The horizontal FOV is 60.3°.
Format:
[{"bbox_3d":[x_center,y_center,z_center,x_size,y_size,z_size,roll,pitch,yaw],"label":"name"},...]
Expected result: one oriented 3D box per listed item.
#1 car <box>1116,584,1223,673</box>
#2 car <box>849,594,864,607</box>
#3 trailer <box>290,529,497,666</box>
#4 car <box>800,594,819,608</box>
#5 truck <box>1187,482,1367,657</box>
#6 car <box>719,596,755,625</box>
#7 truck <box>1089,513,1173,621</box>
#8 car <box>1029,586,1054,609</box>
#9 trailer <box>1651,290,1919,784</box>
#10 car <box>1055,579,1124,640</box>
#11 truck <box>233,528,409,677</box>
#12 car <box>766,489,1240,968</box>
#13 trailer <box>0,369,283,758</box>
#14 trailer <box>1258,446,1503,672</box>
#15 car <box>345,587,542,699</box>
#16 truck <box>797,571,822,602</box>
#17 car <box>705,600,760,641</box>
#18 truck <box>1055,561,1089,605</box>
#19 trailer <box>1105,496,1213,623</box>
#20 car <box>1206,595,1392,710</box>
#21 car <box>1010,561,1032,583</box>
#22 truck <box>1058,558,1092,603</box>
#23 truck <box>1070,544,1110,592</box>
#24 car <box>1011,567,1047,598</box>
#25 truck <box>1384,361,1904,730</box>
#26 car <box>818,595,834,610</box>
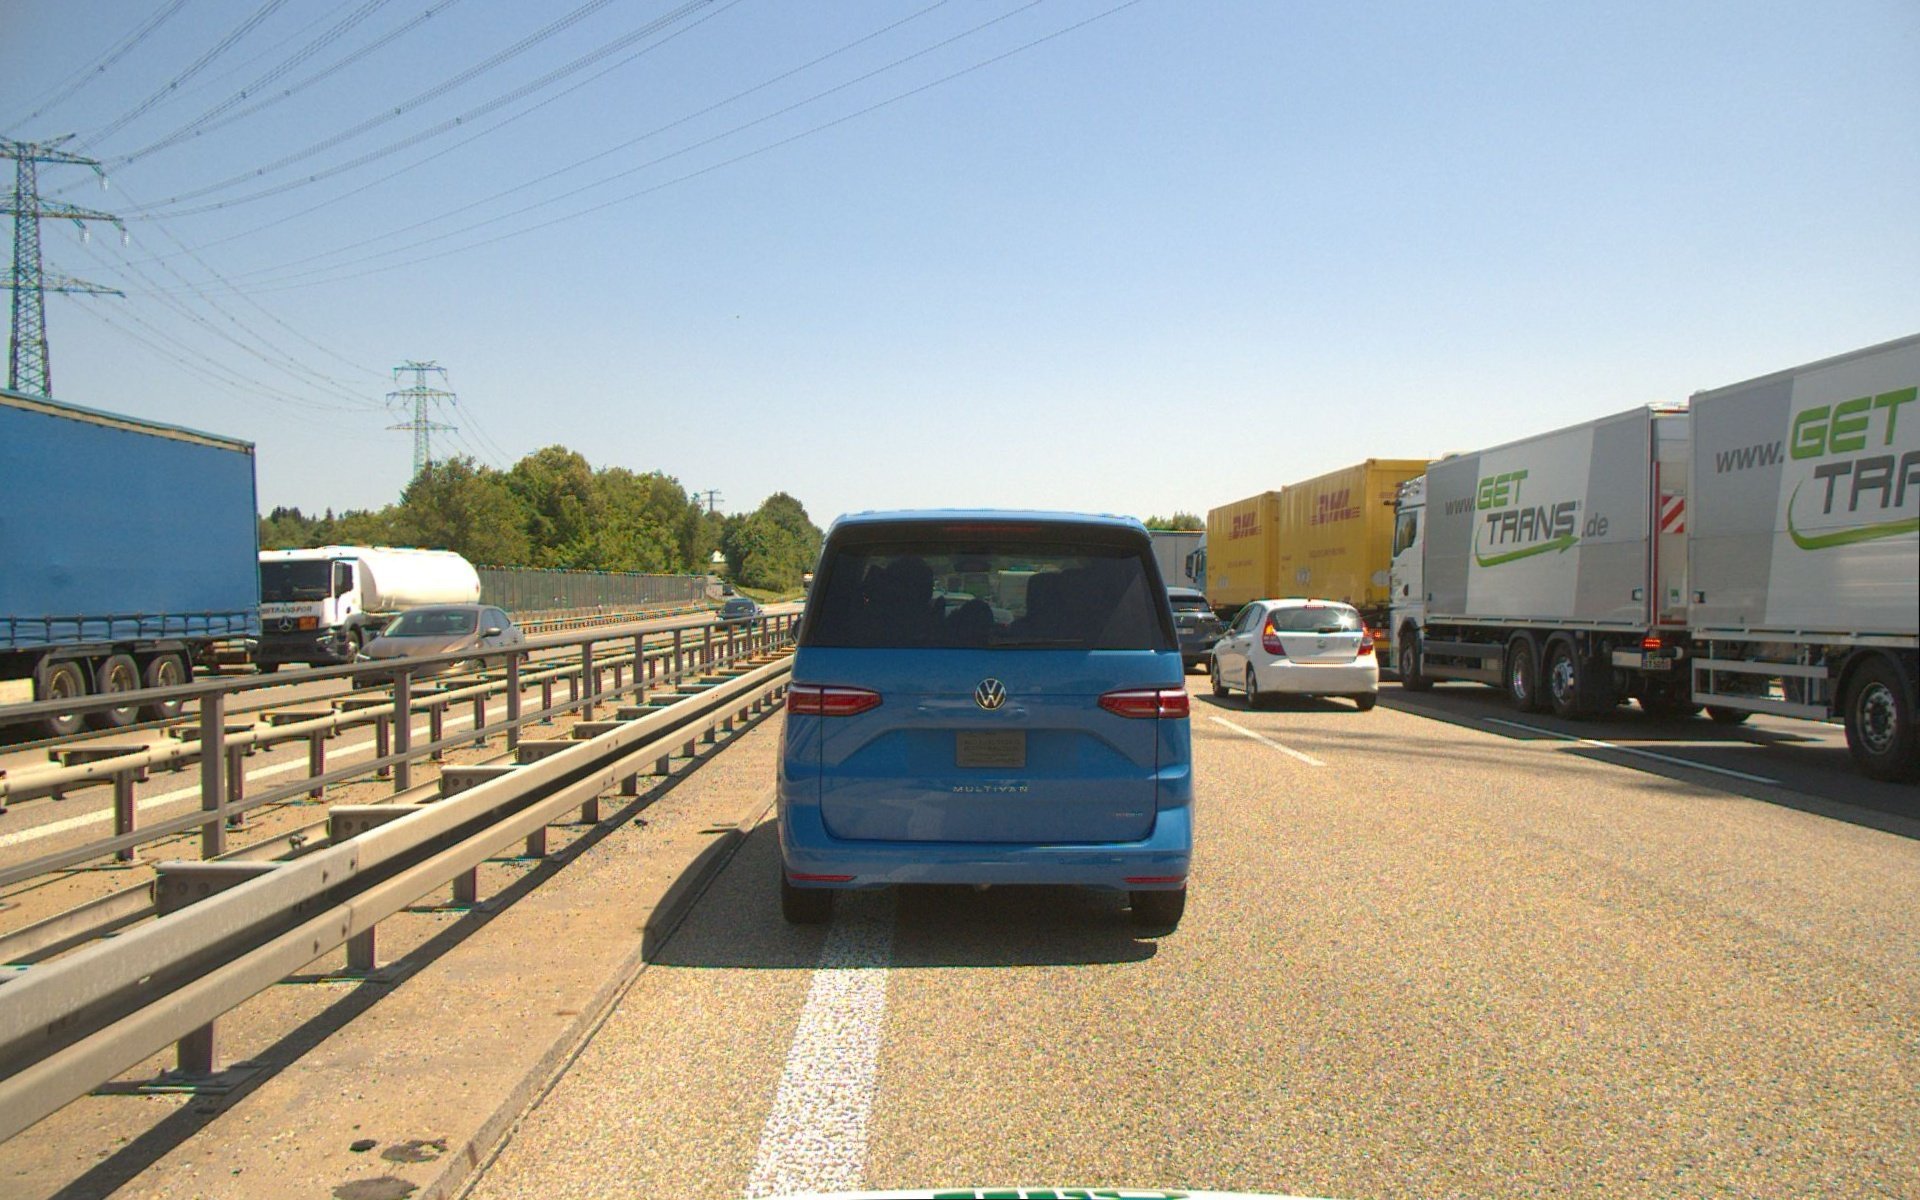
[{"bbox_3d":[4.279,0.567,34.329,1.778,1.708,3.932,1,0,1],"label":"car"},{"bbox_3d":[-14.449,0.057,230.756,1.834,1.556,3.607,-5,0,-1],"label":"car"},{"bbox_3d":[-16.619,-0.024,49.523,2.447,3.602,10.902,-1,0,0],"label":"trailer"},{"bbox_3d":[-16.594,0.067,182.449,1.834,1.467,4.384,-2,0,-1],"label":"car"},{"bbox_3d":[8.306,-0.699,44.740,2.645,4.159,9.936,1,0,-2],"label":"truck"},{"bbox_3d":[-13.703,0.665,101.711,1.770,1.668,3.998,-2,0,-2],"label":"car"},{"bbox_3d":[7.849,-1.403,76.686,2.964,4.692,7.920,1,-1,0],"label":"truck"},{"bbox_3d":[6.539,-0.181,133.262,1.760,1.782,3.942,1,0,-1],"label":"car"},{"bbox_3d":[9.085,-0.481,14.057,2.840,3.959,8.212,1,0,-1],"label":"trailer"},{"bbox_3d":[4.304,0.324,55.588,1.922,1.970,3.931,1,0,-1],"label":"car"},{"bbox_3d":[-16.569,0.084,43.251,2.469,3.596,5.329,-1,-1,0],"label":"truck"},{"bbox_3d":[0.154,0.535,8.701,1.891,1.906,3.999,1,0,-1],"label":"car"},{"bbox_3d":[-11.804,-0.361,19.771,2.650,4.238,12.046,-1,0,-1],"label":"trailer"},{"bbox_3d":[8.656,-0.733,35.319,2.628,4.159,8.976,1,0,-2],"label":"trailer"},{"bbox_3d":[-7.893,0.629,25.696,1.844,1.579,4.188,1,0,-2],"label":"car"},{"bbox_3d":[-22.224,-1.919,244.330,2.869,4.368,6.857,-3,-1,0],"label":"truck"},{"bbox_3d":[-9.392,0.839,68.601,1.844,1.579,4.188,1,0,-2],"label":"car"},{"bbox_3d":[7.060,-1.030,104.431,1.760,2.641,4.305,1,-1,0],"label":"truck"},{"bbox_3d":[7.911,-1.485,67.260,2.964,4.692,10.923,1,0,0],"label":"trailer"},{"bbox_3d":[4.808,0.713,23.966,1.778,1.496,3.930,1,0,-2],"label":"car"},{"bbox_3d":[5.473,-2.500,148.915,1.760,1.782,3.942,1,0,-1],"label":"car"},{"bbox_3d":[6.893,-1.154,99.395,1.706,2.593,4.209,1,-1,0],"label":"truck"},{"bbox_3d":[7.097,-1.725,90.395,1.761,2.492,4.503,1,-1,0],"label":"truck"},{"bbox_3d":[4.026,-1.011,96.951,1.880,1.736,3.999,1,0,-1],"label":"car"},{"bbox_3d":[8.905,-0.561,23.517,2.794,4.003,10.607,1,0,-1],"label":"truck"},{"bbox_3d":[-17.387,0.315,214.200,1.802,1.854,4.746,-1,-1,-2],"label":"car"}]
